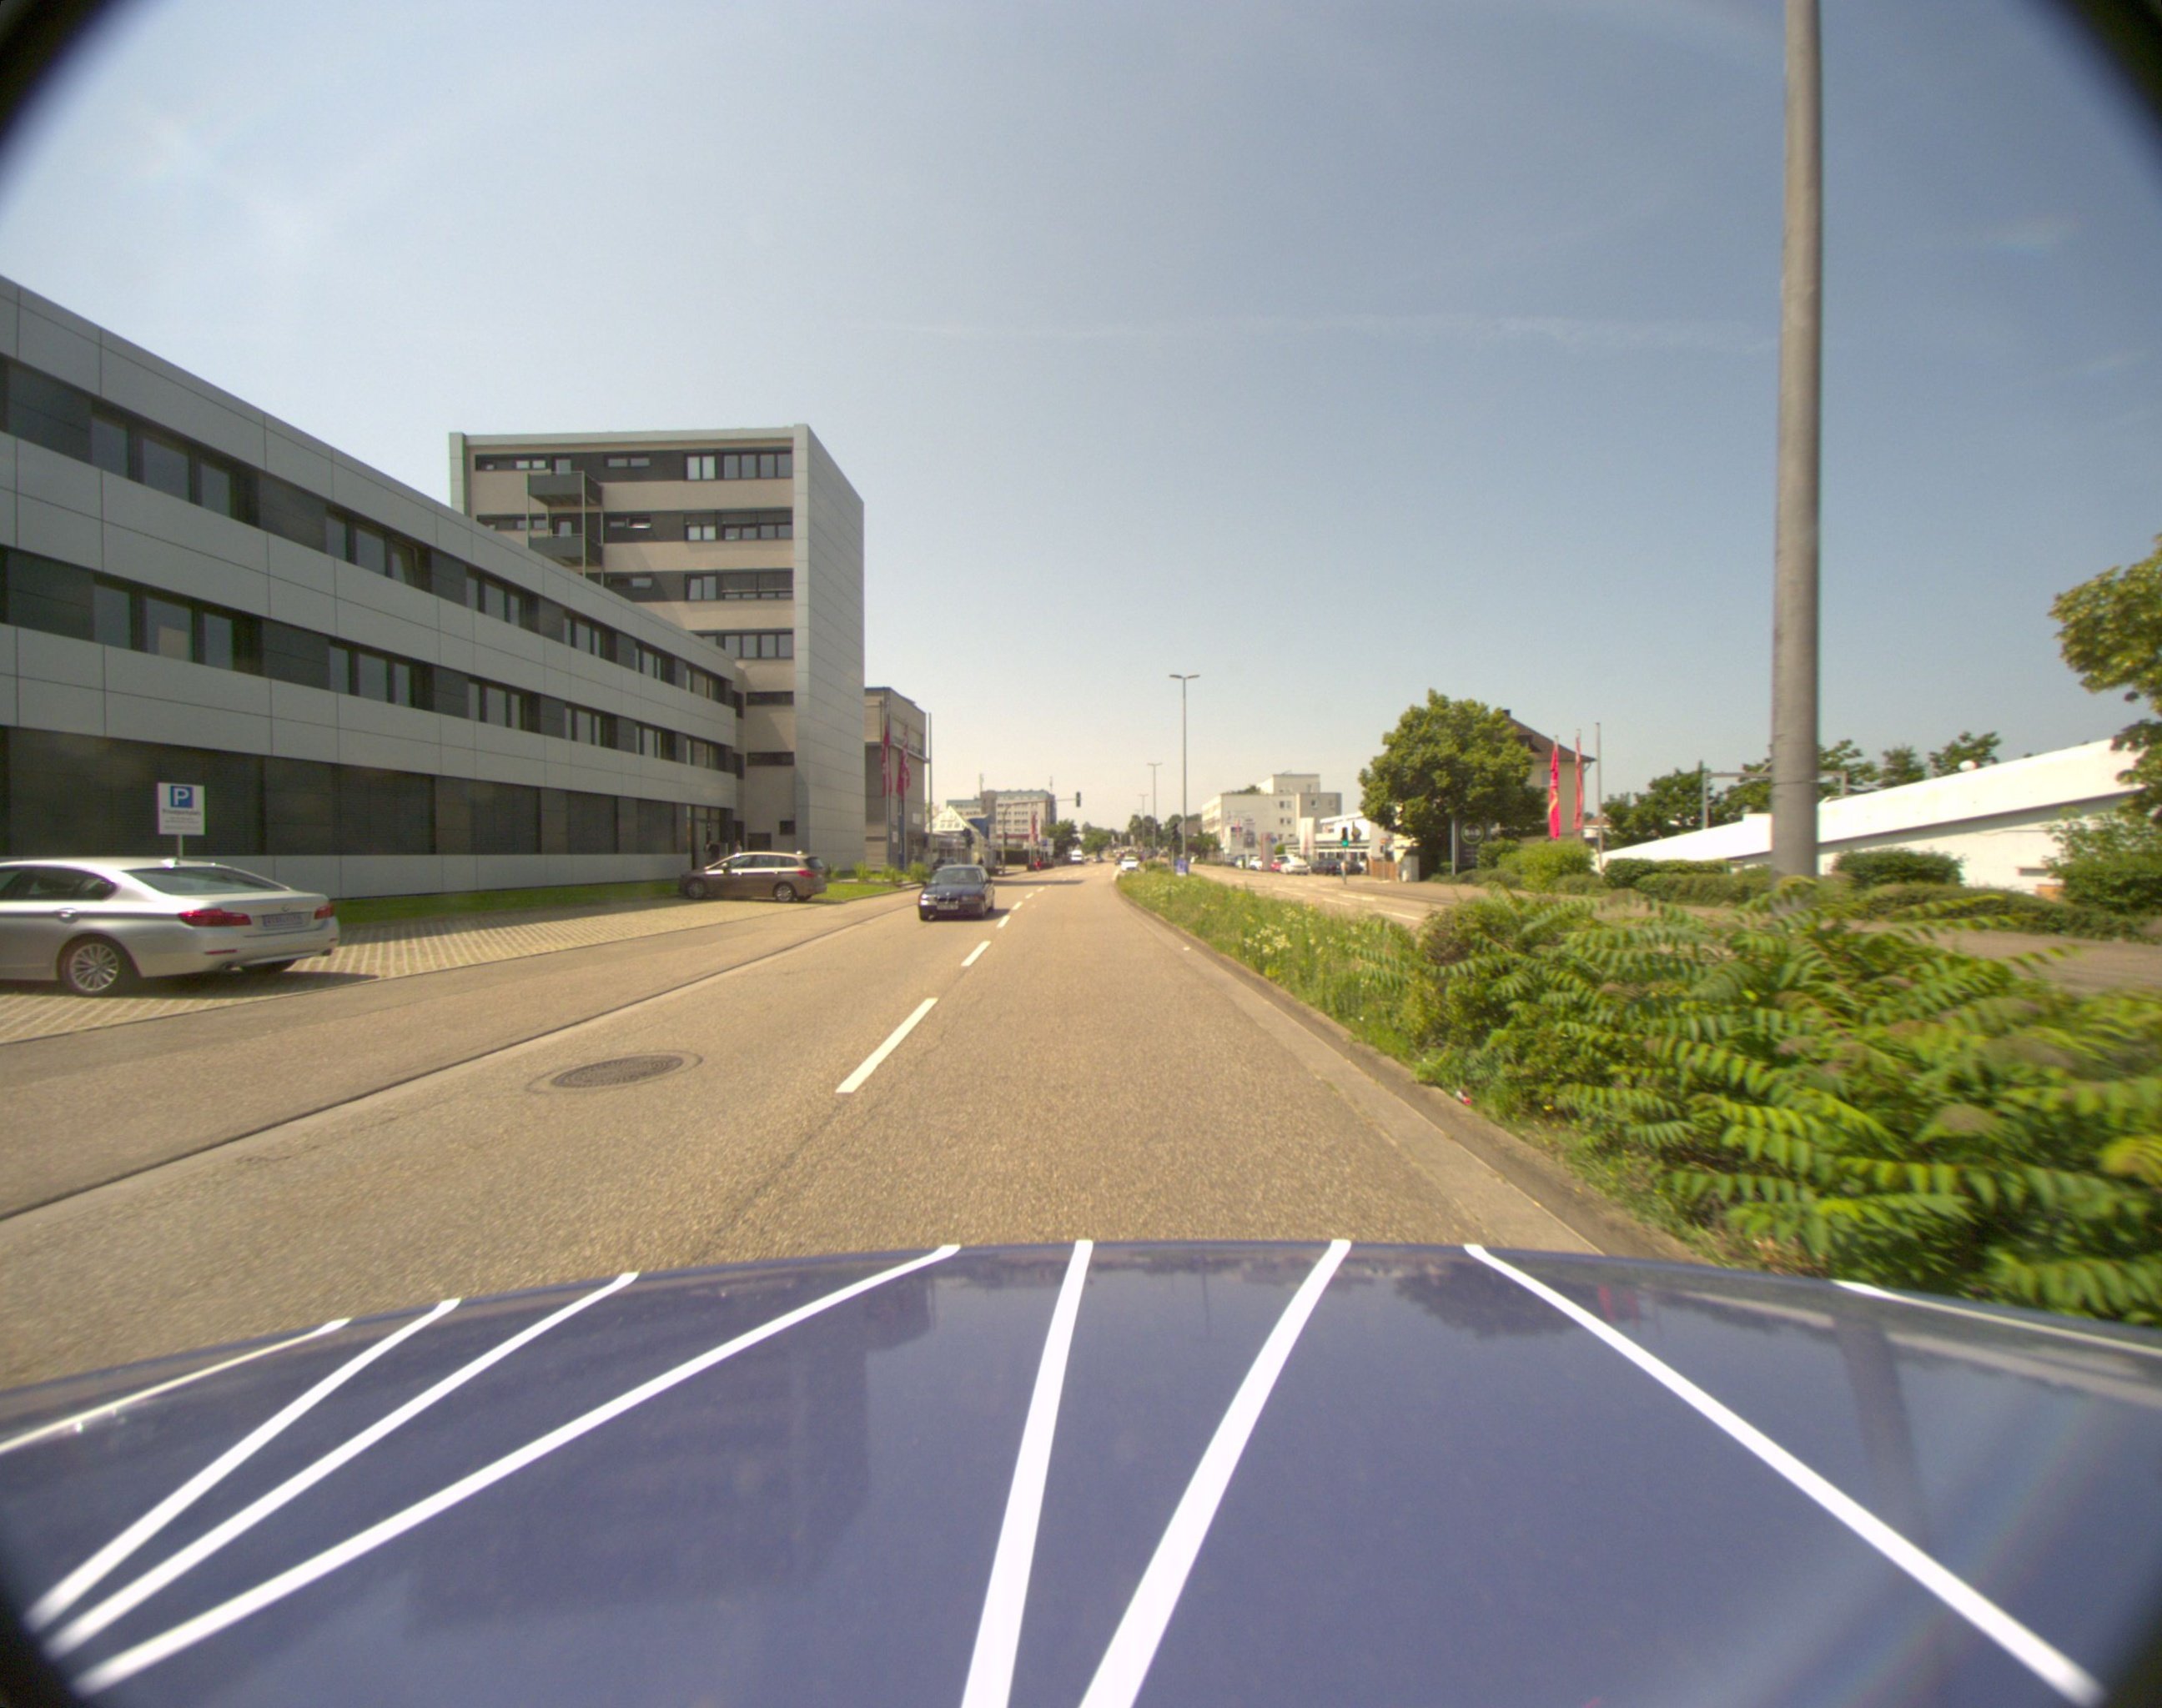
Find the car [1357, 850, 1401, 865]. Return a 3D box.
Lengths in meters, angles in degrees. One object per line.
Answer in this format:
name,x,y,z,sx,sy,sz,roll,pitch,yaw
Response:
car,32.285,0.377,82.343,3.996,1.606,1.866,0,1,3

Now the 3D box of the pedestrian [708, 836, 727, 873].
pedestrian,-16.199,0.014,33.860,0.594,1.625,0.524,0,1,12

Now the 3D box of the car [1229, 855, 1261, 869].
car,22.908,1.088,106.375,3.996,1.599,1.760,4,1,2

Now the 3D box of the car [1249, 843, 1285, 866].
car,22.534,0.005,92.187,4.000,1.617,1.755,-21,13,-30

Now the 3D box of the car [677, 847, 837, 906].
car,-10.437,0.698,24.721,4.270,1.679,1.999,2,1,-1

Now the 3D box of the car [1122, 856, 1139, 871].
car,5.040,0.958,76.891,1.692,1.426,3.712,0,0,4

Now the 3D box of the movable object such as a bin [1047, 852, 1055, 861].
movable object such as a bin,-4.754,0.414,121.295,1.133,1.461,1.490,0,1,4

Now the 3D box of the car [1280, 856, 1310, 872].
car,20.078,0.904,71.461,1.780,1.402,4.760,1,0,4

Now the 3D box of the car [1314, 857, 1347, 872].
car,23.016,0.922,70.199,1.737,1.343,4.000,0,0,1

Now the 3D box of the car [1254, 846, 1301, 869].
car,21.769,0.402,84.325,4.557,1.699,1.760,-11,0,5

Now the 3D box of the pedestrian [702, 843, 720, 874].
pedestrian,-16.996,0.198,34.903,0.523,1.397,0.799,0,1,-7

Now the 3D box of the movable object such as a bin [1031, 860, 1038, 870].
movable object such as a bin,-4.767,1.120,77.882,0.552,0.914,0.653,3,1,4

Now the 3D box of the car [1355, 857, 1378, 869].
car,30.583,0.976,81.253,1.646,1.244,4.008,0,0,30

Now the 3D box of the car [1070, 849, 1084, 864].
car,-0.782,0.519,148.878,2.182,2.757,7.279,2,0,3

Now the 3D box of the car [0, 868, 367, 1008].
car,-11.671,0.898,8.920,4.625,1.382,1.999,0,1,-1

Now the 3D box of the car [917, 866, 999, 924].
car,-3.245,1.039,20.671,1.632,1.331,3.756,-2,0,-1

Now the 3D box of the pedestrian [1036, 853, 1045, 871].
pedestrian,-4.268,0.853,80.723,0.787,1.836,0.936,0,1,6

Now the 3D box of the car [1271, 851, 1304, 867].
car,21.748,0.530,79.996,1.834,1.633,4.187,0,1,38

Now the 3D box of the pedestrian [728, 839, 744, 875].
pedestrian,-15.883,0.139,35.000,0.523,1.653,0.756,0,1,-14

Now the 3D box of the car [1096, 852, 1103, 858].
car,4.738,0.248,195.204,1.866,1.550,4.000,0,0,3

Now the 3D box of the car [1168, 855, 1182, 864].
car,15.555,0.947,126.403,1.998,1.477,4.502,0,0,3

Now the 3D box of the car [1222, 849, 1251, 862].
car,22.952,0.154,112.178,3.996,1.871,2.000,0,1,2

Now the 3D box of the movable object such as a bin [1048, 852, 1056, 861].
movable object such as a bin,-4.647,0.403,122.898,1.133,1.461,1.490,0,1,4

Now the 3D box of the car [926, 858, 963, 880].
car,-10.704,1.169,59.712,1.848,1.522,4.197,-2,0,3

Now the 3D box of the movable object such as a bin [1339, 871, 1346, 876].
movable object such as a bin,21.468,1.619,62.339,0.417,0.370,0.506,0,1,5

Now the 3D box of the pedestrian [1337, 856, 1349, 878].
pedestrian,21.381,1.041,62.019,0.742,1.737,1.034,0,1,6

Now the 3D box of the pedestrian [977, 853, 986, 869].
pedestrian,-10.188,0.720,77.862,0.811,1.617,0.853,0,1,6

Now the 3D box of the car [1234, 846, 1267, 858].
car,22.469,-0.224,100.900,3.995,1.599,1.926,0,1,6

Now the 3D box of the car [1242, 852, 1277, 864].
car,22.220,0.498,94.882,3.996,1.386,1.860,0,1,2
